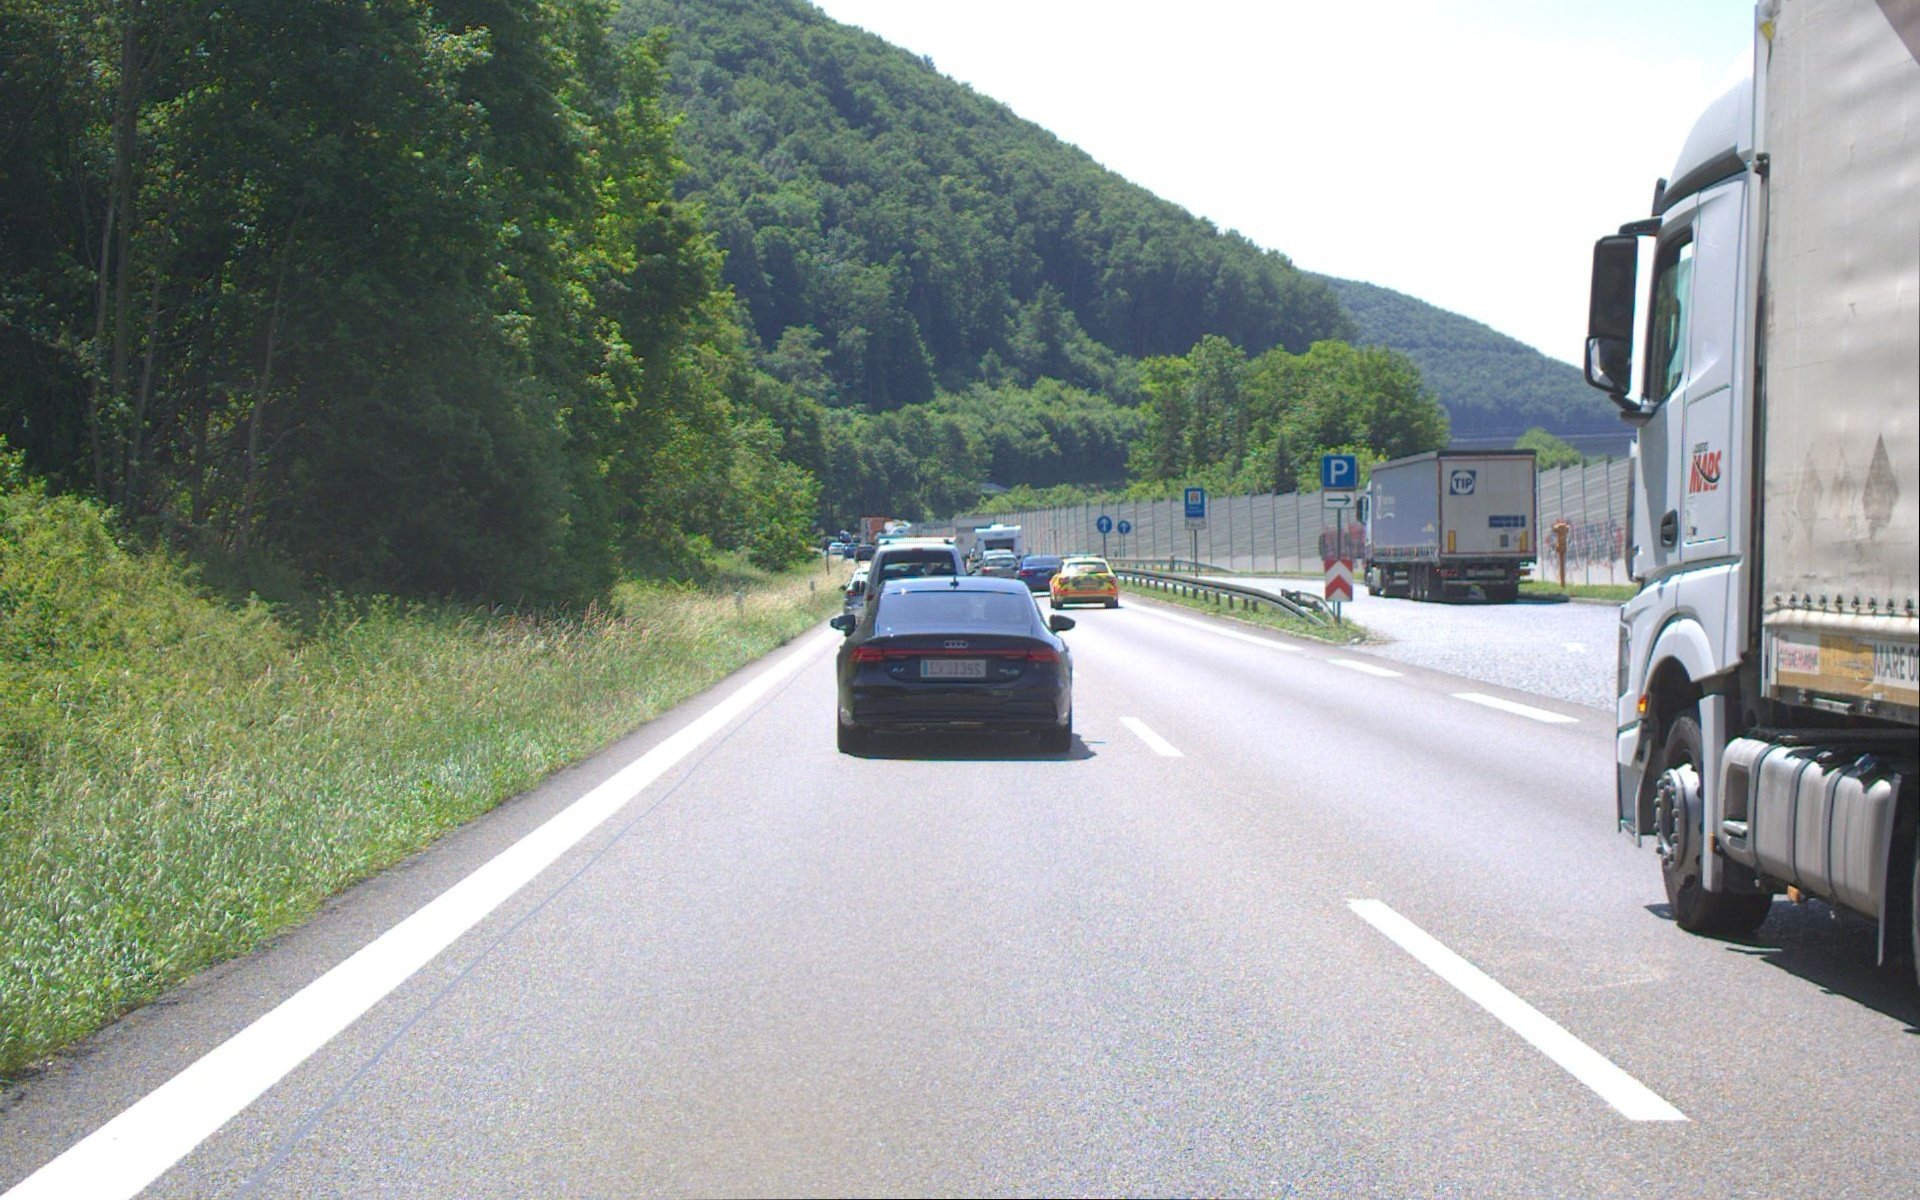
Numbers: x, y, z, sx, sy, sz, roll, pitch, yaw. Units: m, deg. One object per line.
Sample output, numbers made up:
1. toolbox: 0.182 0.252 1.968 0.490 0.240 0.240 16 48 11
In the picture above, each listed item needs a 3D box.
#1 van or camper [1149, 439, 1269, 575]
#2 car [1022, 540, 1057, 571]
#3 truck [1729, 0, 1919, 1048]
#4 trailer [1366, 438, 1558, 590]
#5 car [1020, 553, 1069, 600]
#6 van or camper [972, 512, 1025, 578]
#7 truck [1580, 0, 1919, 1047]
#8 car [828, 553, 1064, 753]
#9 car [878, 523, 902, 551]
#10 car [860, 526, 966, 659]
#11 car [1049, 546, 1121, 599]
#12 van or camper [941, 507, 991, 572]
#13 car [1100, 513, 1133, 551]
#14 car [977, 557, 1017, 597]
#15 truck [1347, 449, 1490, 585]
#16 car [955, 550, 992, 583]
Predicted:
1. van or camper: 7.485 -2.749 103.981 2.794 3.828 6.167 2 0 -2
2. car: 5.131 -2.872 221.677 1.993 2.007 4.000 0 1 -2
3. truck: 4.428 -0.623 6.094 2.726 4.054 13.742 1 0 -1
4. trailer: 13.618 -2.309 94.326 3.411 3.887 11.152 1 1 -1
5. car: 2.876 -0.791 117.801 1.530 1.520 3.597 2 0 0
6. van or camper: 1.897 -2.728 171.832 2.429 3.144 5.203 2 0 0
7. truck: 4.295 -0.635 12.925 2.719 4.054 5.754 1 0 -1
8. car: -0.110 0.382 28.240 1.812 1.509 3.514 0 1 0
9. car: -5.012 -4.534 247.143 1.687 2.007 4.000 1 1 -1
10. car: -0.753 -0.128 54.460 1.521 1.961 3.514 3 0 -1
11. car: 3.564 -0.796 98.503 1.879 1.493 4.000 1 1 0
12. van or camper: 0.339 -3.816 218.926 2.794 3.894 6.167 2 0 -2
13. car: 8.343 -3.632 183.326 1.576 2.007 3.428 0 1 0
14. car: 1.483 -0.920 139.115 1.530 1.520 3.597 2 0 0
15. truck: 13.522 -2.428 101.770 3.411 3.887 5.388 1 1 -1
16. car: 0.801 -1.944 199.799 1.993 1.788 4.000 2 0 -1
